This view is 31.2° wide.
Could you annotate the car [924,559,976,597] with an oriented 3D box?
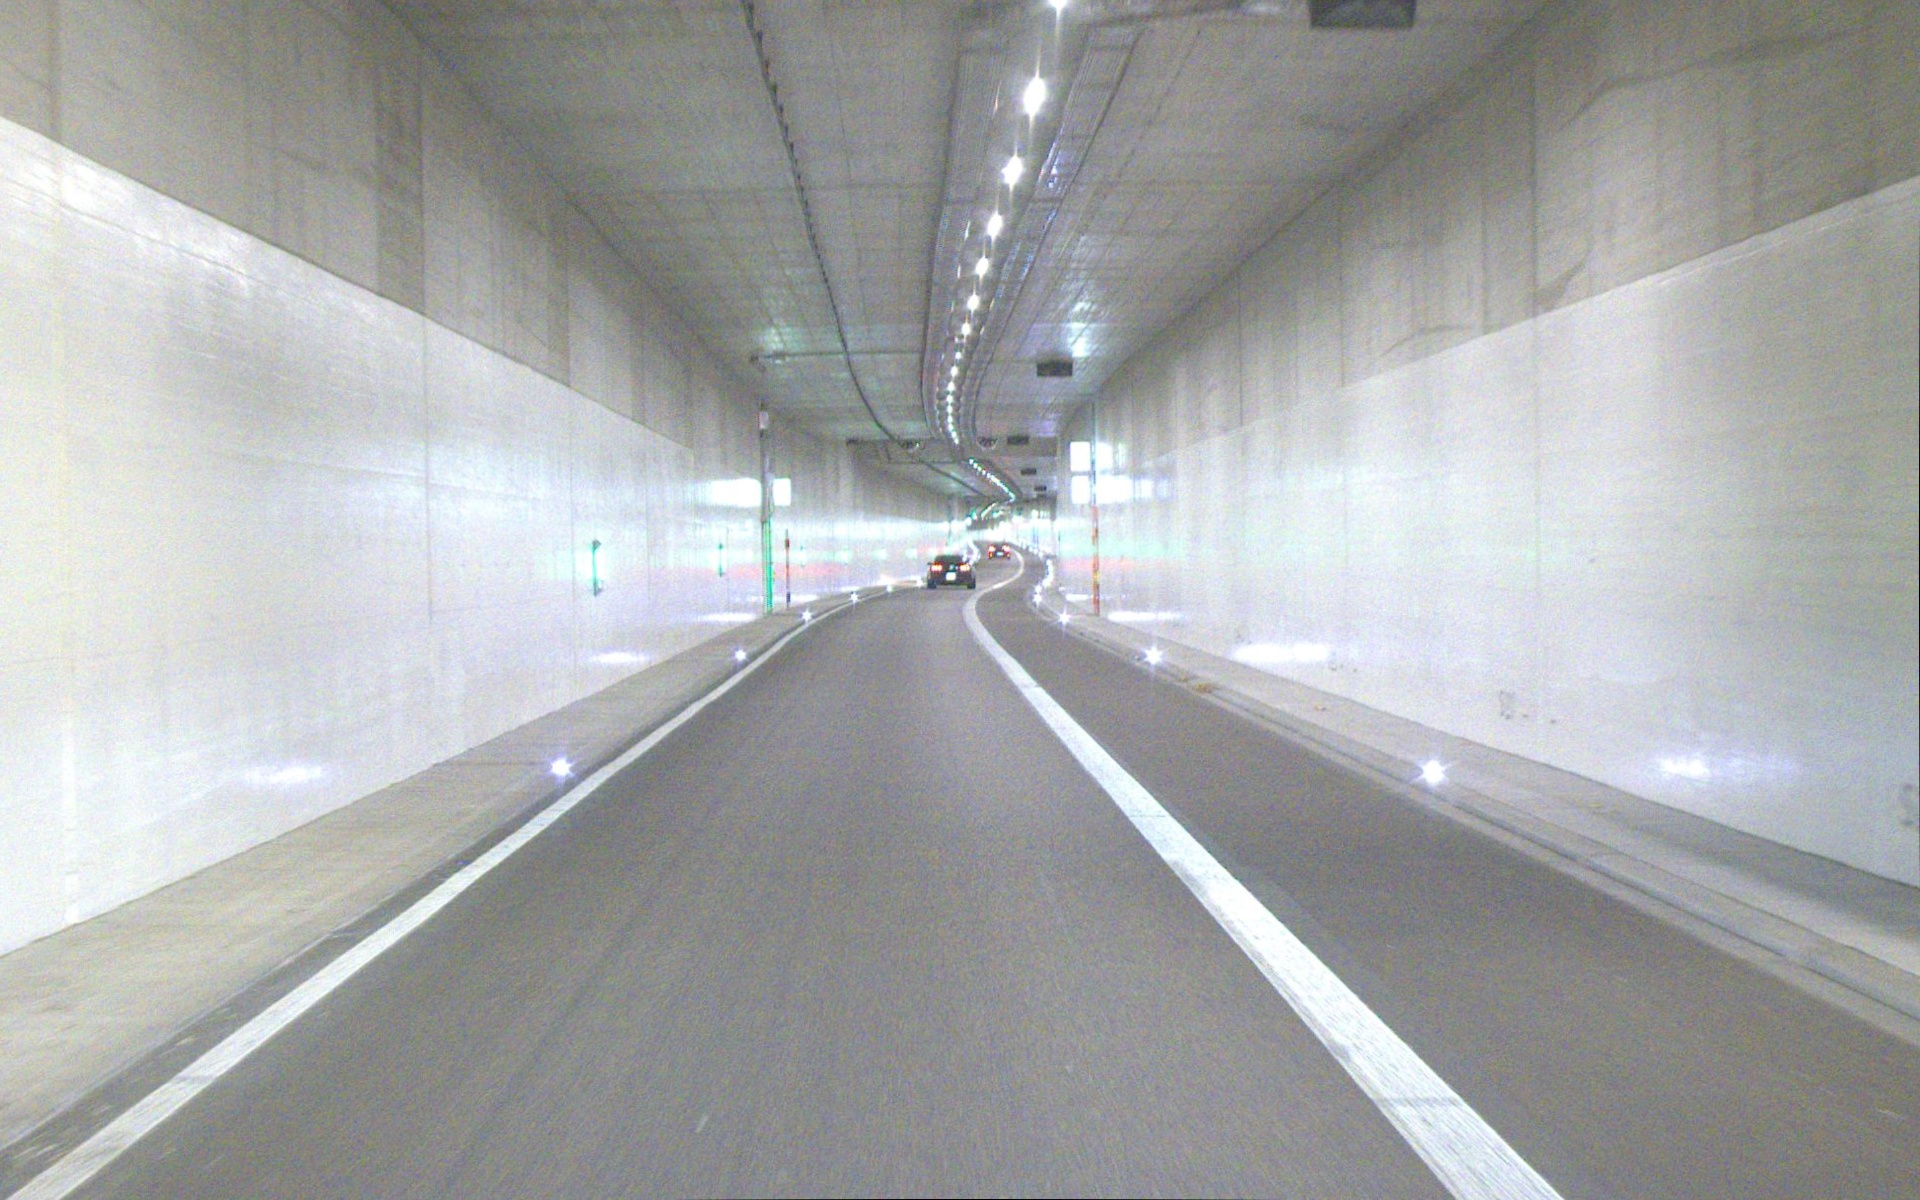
[{"bbox_3d":[-0.412,-0.870,137.046,1.993,1.415,4.000,2,1,-1],"label":"car"}]
